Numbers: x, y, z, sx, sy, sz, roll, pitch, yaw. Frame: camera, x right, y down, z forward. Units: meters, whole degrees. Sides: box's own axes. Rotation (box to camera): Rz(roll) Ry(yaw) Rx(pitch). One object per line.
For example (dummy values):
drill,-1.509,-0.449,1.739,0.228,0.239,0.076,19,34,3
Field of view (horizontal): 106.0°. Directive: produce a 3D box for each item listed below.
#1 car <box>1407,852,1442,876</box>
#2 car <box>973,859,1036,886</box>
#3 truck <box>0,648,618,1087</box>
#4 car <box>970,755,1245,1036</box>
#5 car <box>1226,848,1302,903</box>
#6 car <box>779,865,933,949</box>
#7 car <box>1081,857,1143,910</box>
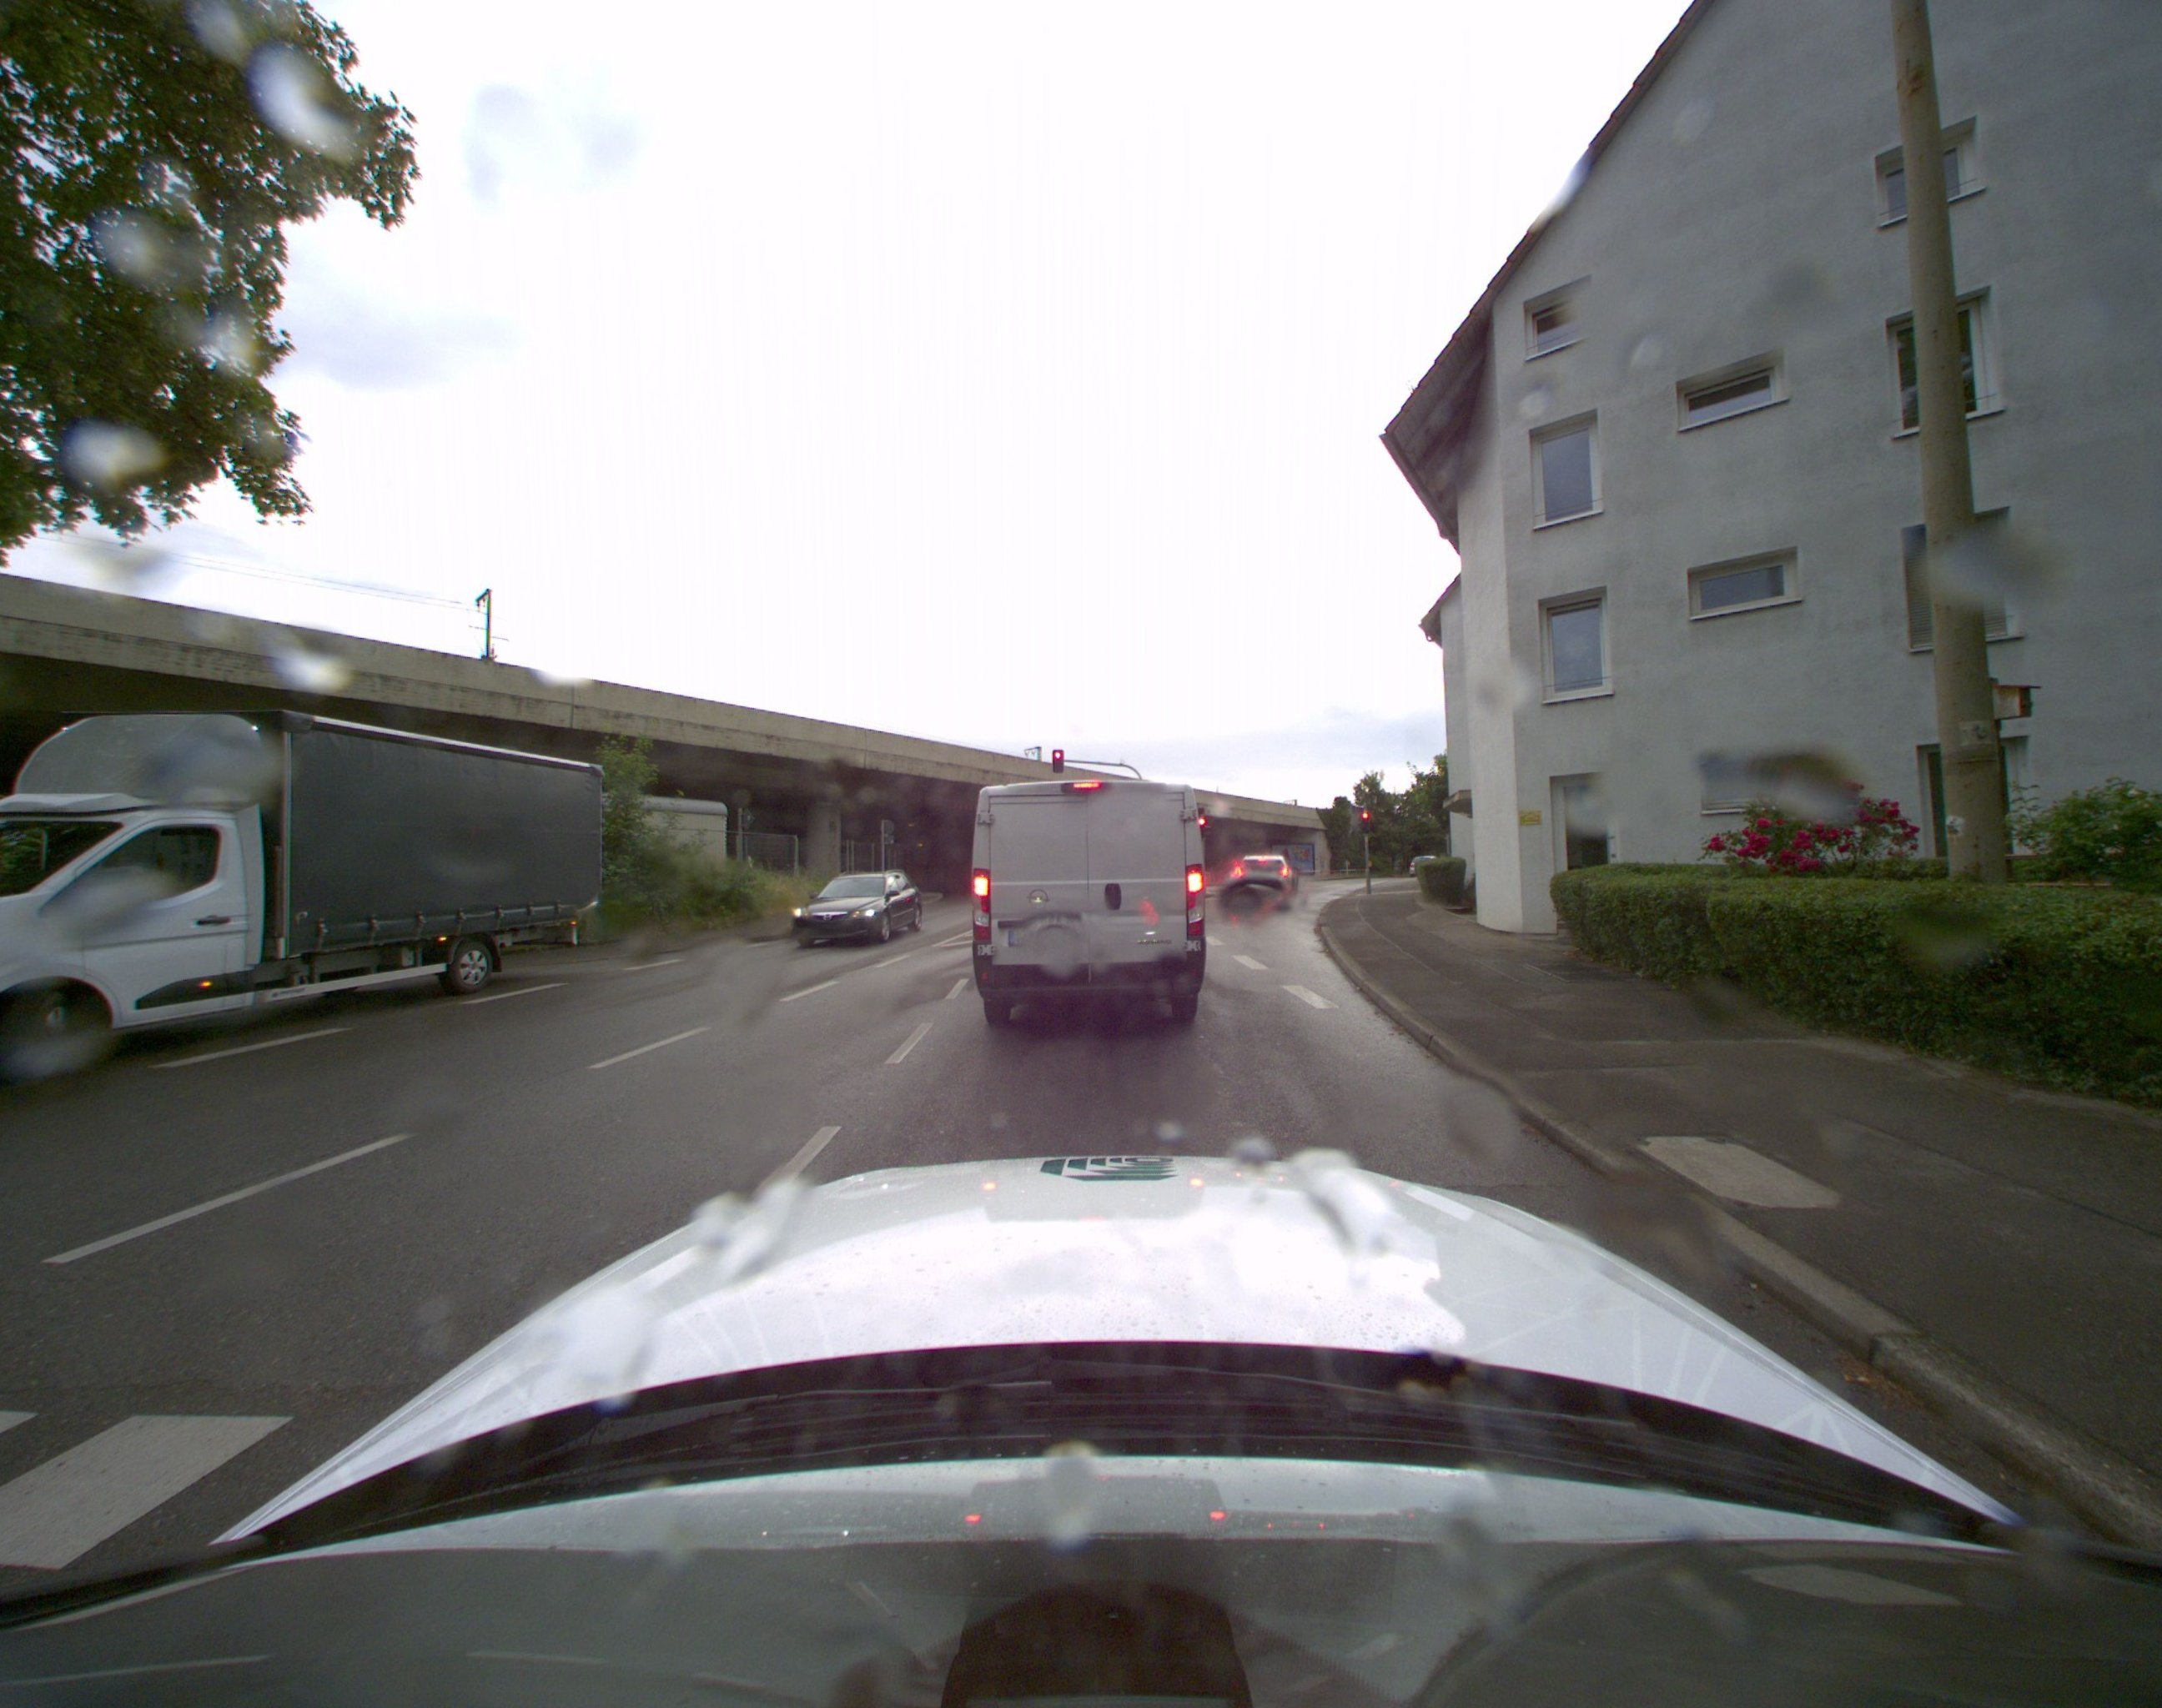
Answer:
car,23.759,0.715,56.278,1.975,1.554,4.023,-2,-2,26
car,-4.469,1.101,47.180,2.007,1.519,3.958,0,-2,-33
truck,-9.066,0.180,9.394,2.599,3.237,7.783,-1,-1,4
car,0.317,0.348,9.454,2.296,2.343,5.285,0,0,2
car,5.786,0.680,25.423,1.978,1.549,4.017,-2,-2,17
car,-4.720,1.052,17.803,1.834,1.569,4.417,-1,-1,4
car,1.171,1.054,29.138,1.984,1.729,4.005,-1,-2,5
